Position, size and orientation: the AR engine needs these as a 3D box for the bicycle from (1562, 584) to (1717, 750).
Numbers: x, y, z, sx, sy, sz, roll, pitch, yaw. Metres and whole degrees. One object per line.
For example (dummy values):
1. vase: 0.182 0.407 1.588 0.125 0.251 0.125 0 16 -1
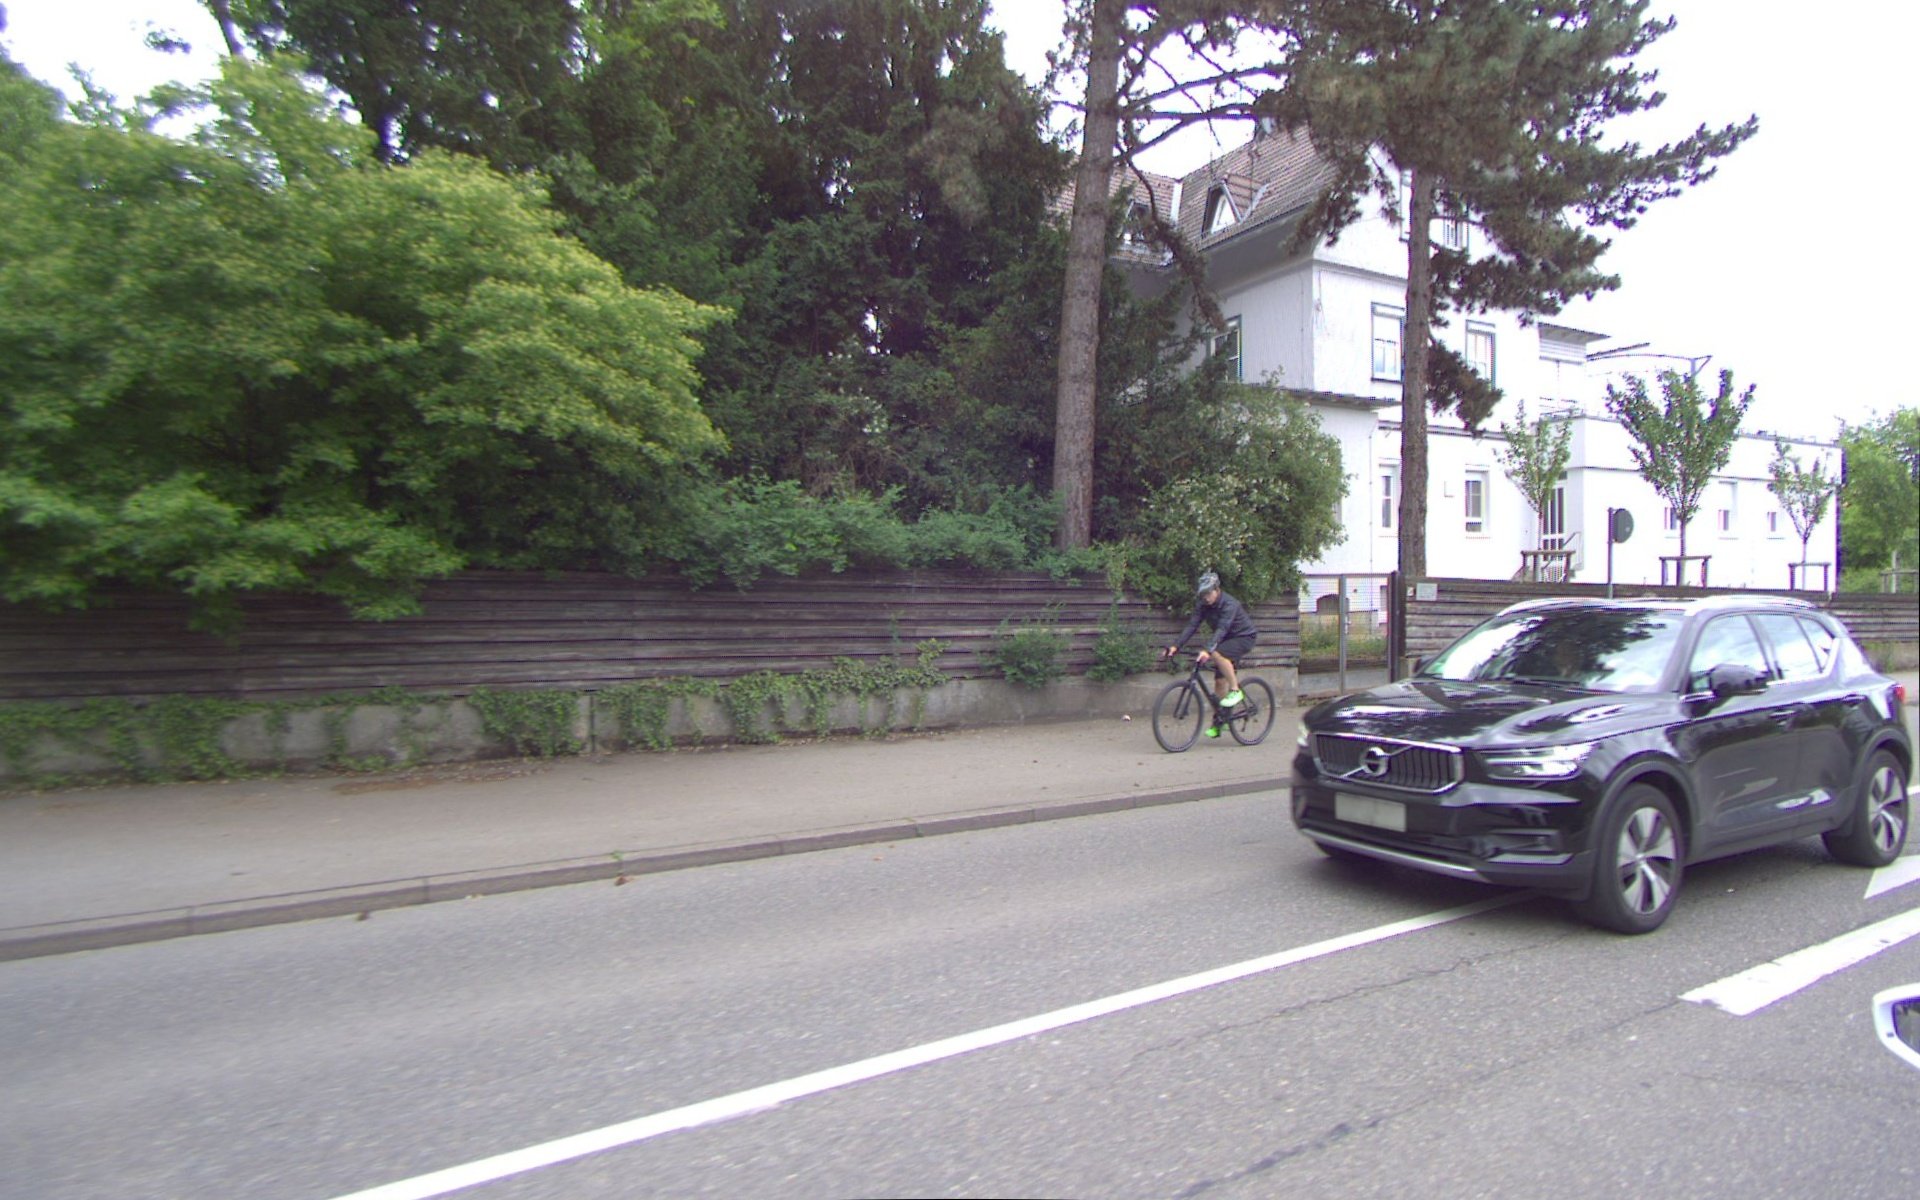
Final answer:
1. bicycle: 7.783 0.726 11.484 1.850 1.767 0.755 0 -1 -31

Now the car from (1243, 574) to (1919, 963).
1. car: 3.936 0.756 6.125 4.231 1.652 1.824 1 -1 -29

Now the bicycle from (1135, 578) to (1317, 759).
1. bicycle: 2.719 0.651 10.179 1.958 1.699 0.559 0 1 -31
